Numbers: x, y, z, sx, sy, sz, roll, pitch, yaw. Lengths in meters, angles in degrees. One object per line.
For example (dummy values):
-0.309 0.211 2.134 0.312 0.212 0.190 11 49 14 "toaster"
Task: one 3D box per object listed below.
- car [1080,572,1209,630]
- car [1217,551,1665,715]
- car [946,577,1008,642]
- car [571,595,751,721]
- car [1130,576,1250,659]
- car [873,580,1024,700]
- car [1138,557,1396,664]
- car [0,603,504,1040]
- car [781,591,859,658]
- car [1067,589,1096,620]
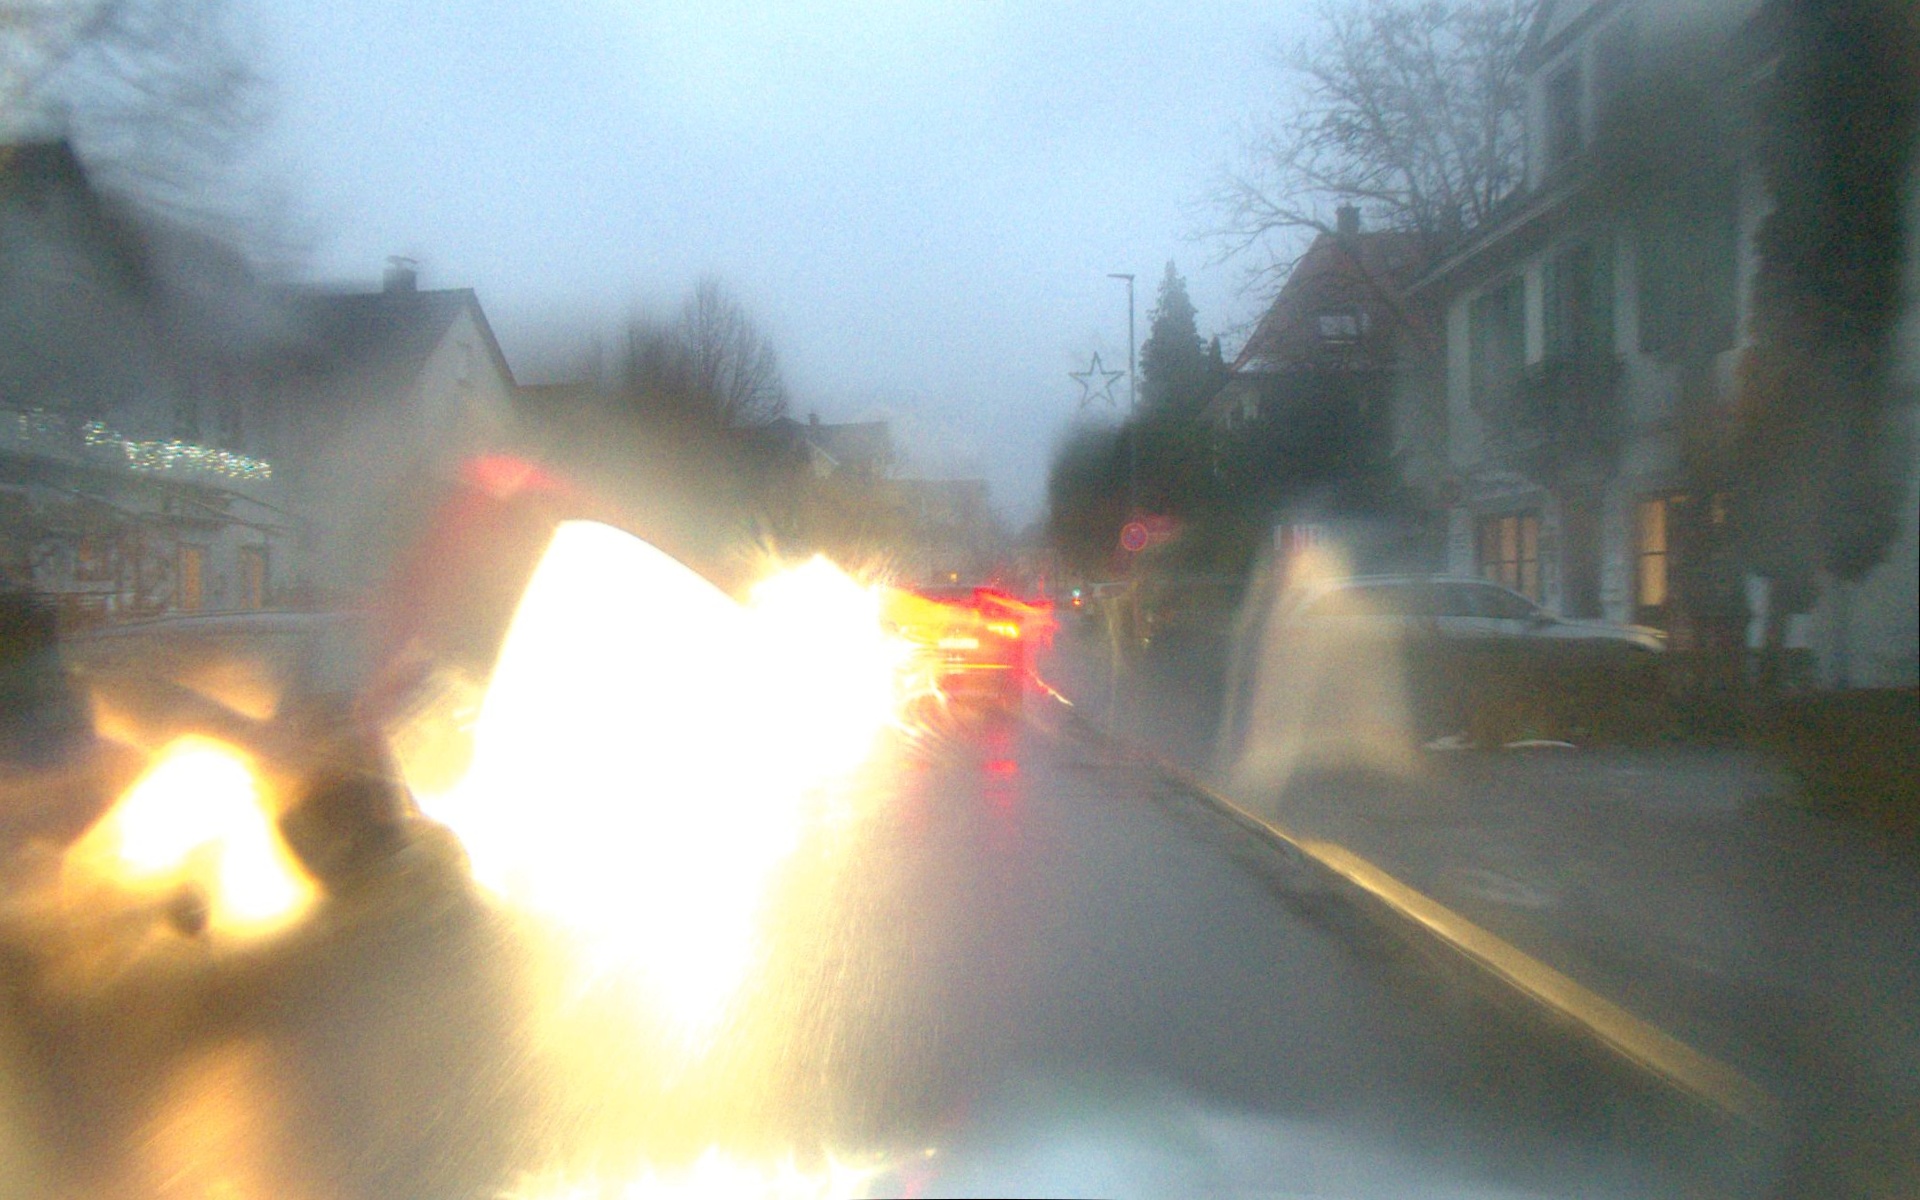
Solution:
6.423 0.015 58.054 4.234 1.762 2.000 -3 0 0 "car"
5.393 0.359 19.068 4.634 1.658 1.908 -2 0 5 "car"
0.594 0.299 54.332 1.952 2.049 4.001 0 0 2 "car"
-3.940 0.705 22.452 1.669 1.466 4.424 -2 0 -1 "car"
4.727 0.321 34.604 1.854 1.581 4.755 -1 0 0 "car"
-0.198 0.503 23.339 1.953 1.552 3.999 0 0 -2 "car"
5.160 0.173 28.211 4.018 1.736 1.999 0 -1 -1 "car"
-3.507 0.792 7.720 1.669 1.466 3.999 -2 0 -1 "car"
-3.770 0.629 45.100 1.777 1.661 4.224 -2 0 -1 "car"
8.596 0.303 116.795 1.952 2.049 4.002 -1 0 4 "car"
